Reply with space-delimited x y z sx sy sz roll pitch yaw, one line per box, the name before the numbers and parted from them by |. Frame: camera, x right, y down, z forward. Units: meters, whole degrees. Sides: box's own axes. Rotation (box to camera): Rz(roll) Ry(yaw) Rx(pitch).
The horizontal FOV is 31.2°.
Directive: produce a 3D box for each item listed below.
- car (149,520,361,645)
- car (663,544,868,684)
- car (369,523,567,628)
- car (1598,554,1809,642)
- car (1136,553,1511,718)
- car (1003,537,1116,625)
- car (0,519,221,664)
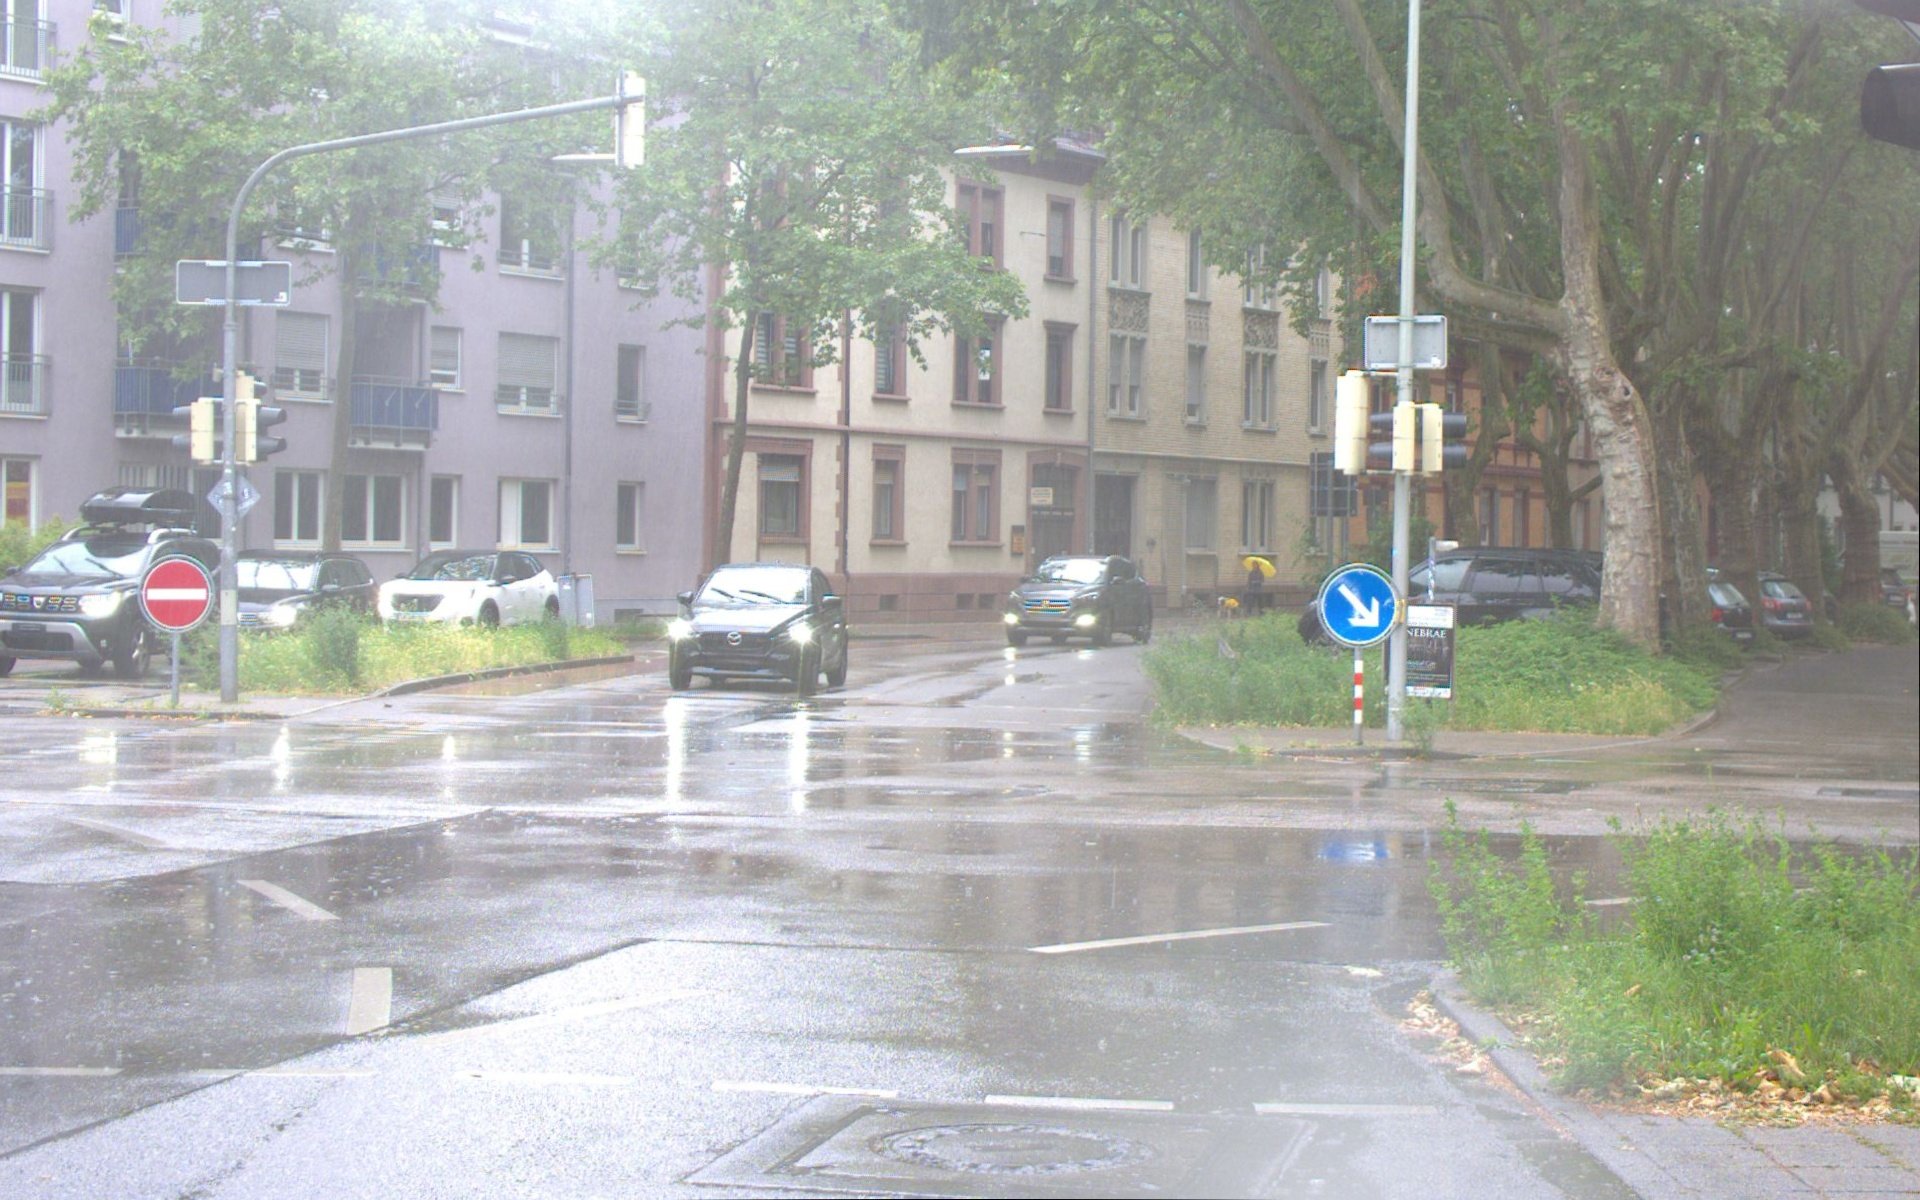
car | -9.163 -0.257 44.911 1.725 1.547 3.559 -1 1 5
car | -2.252 0.137 40.570 1.603 1.547 3.558 0 1 10
car | -7.537 -0.402 53.014 1.678 1.547 4.197 0 1 12
car | 14.177 -0.045 65.572 3.611 1.612 1.679 0 1 28
car | 3.508 0.329 33.003 3.480 1.518 1.519 0 1 9
car | 1.855 -0.371 63.187 1.603 1.547 3.558 0 1 10
car | -9.742 -0.127 38.809 1.725 1.547 3.559 -1 1 5
